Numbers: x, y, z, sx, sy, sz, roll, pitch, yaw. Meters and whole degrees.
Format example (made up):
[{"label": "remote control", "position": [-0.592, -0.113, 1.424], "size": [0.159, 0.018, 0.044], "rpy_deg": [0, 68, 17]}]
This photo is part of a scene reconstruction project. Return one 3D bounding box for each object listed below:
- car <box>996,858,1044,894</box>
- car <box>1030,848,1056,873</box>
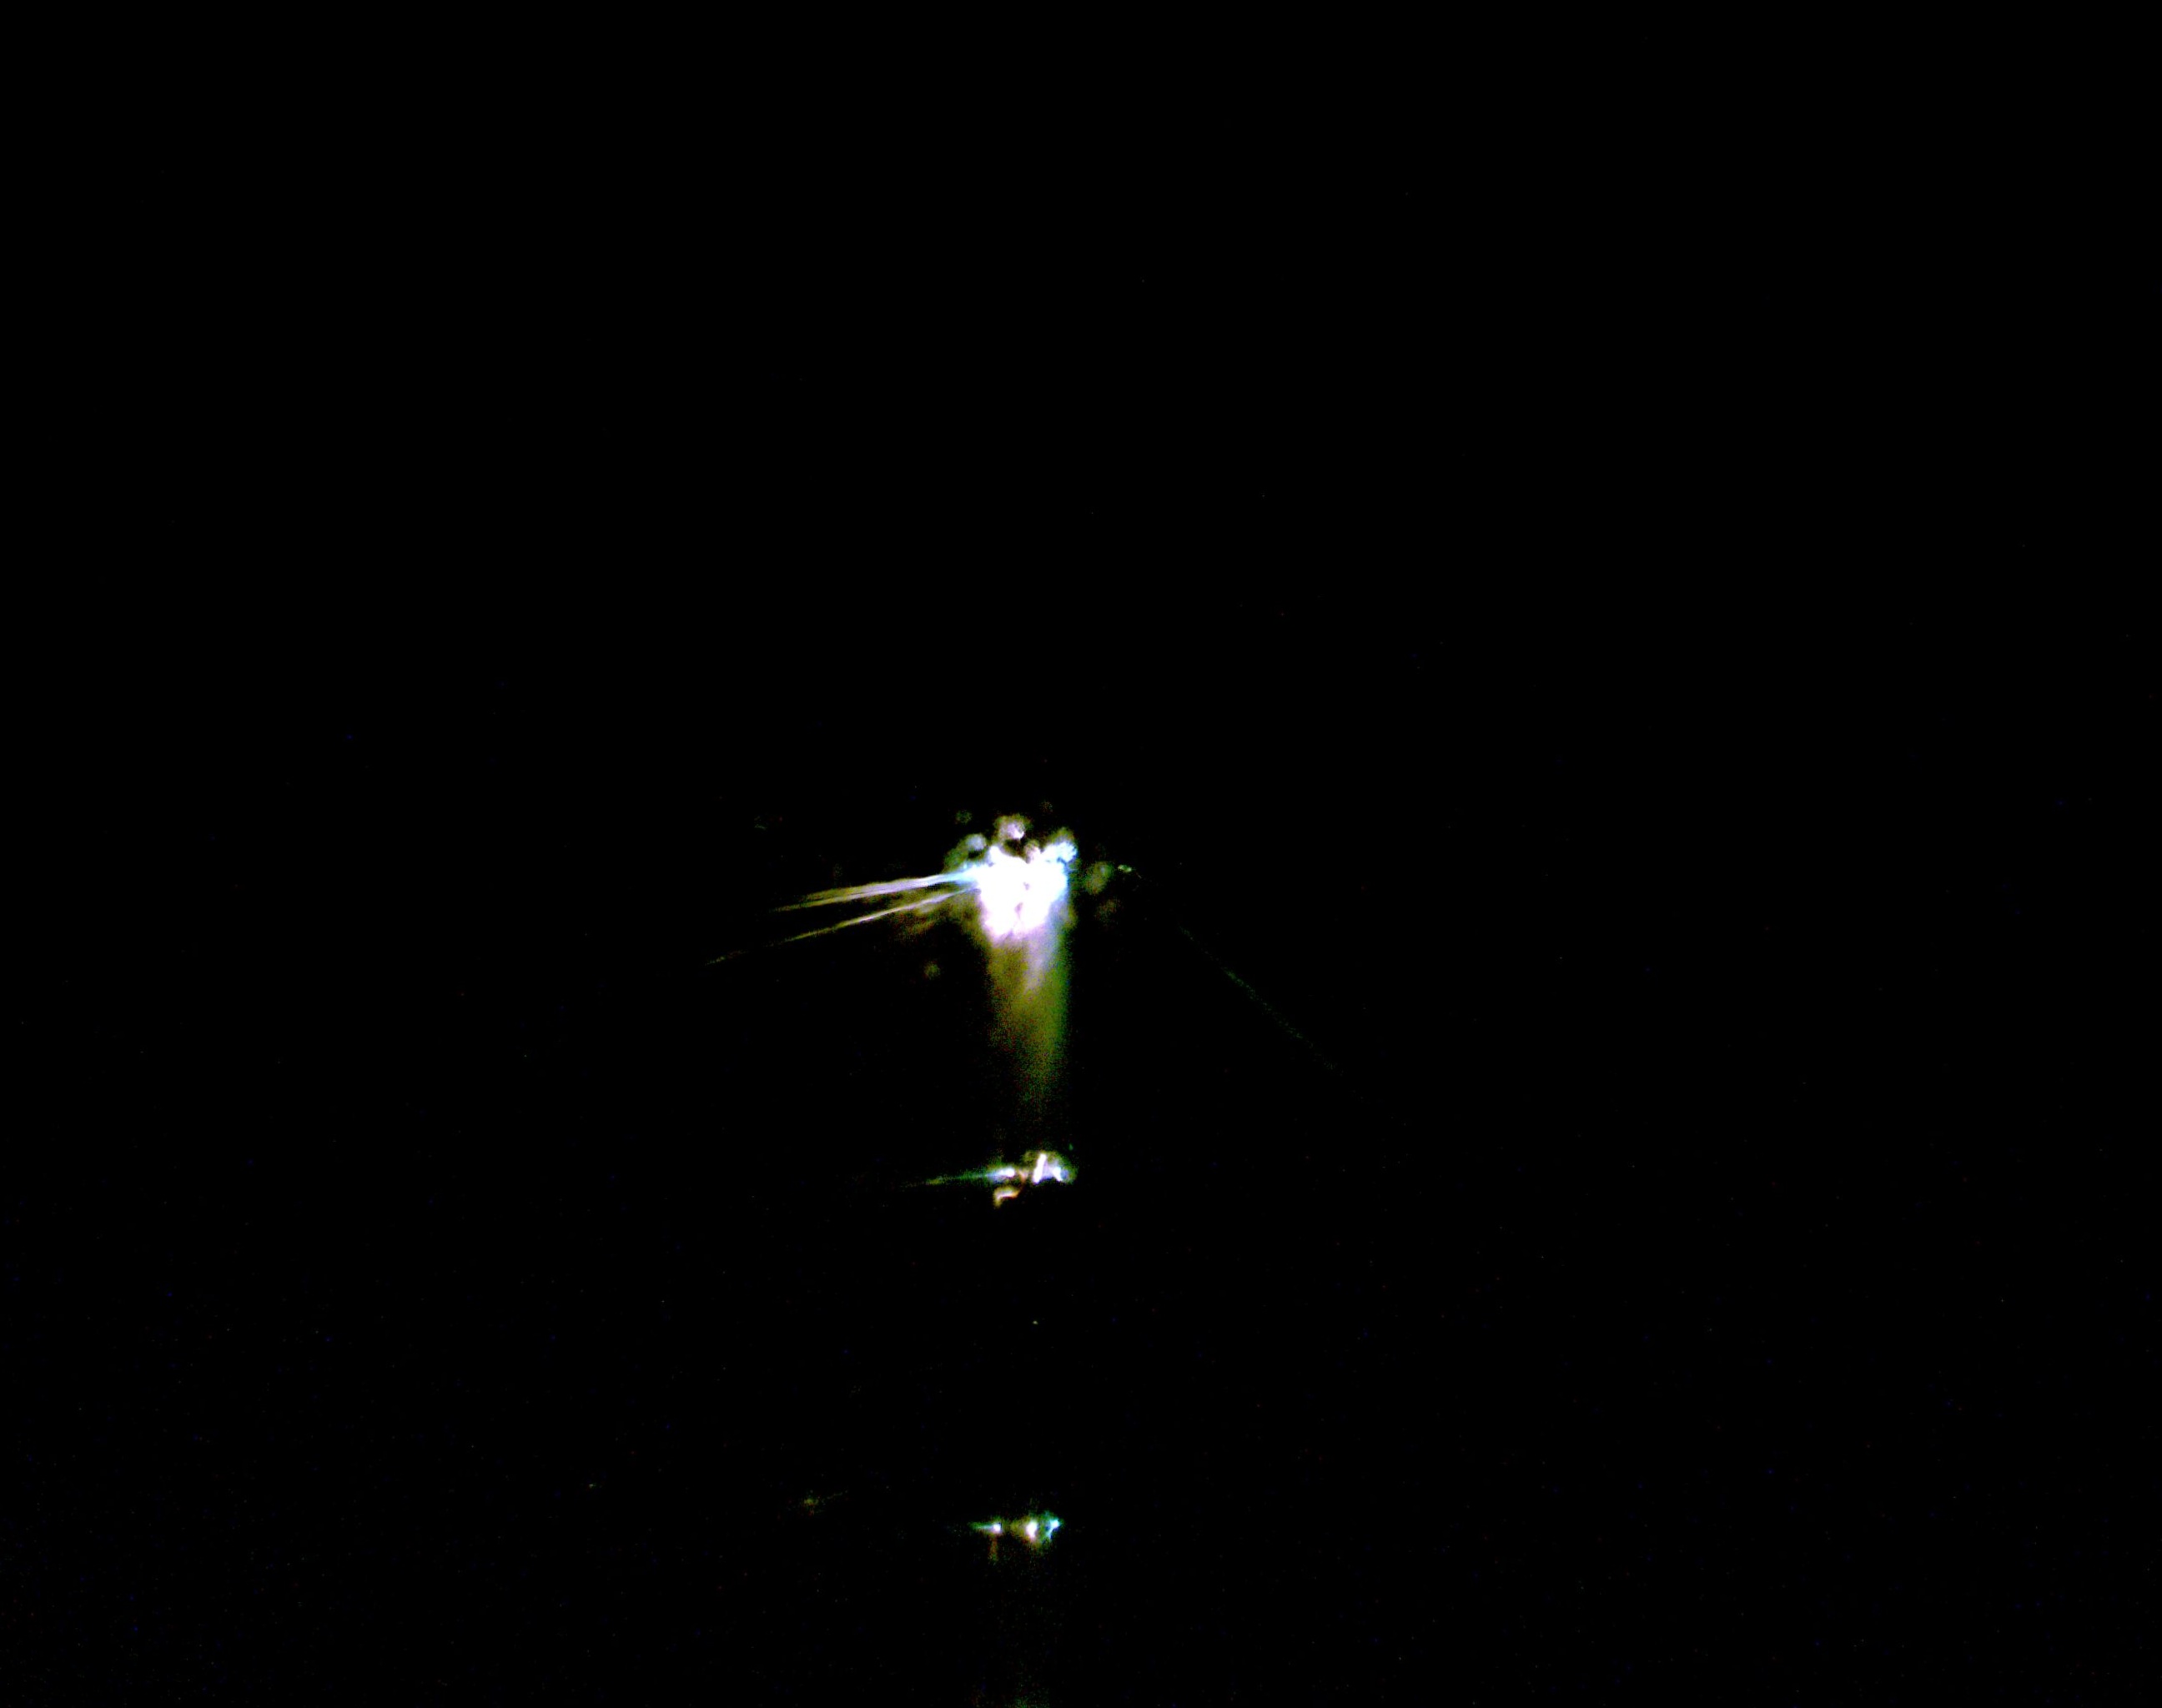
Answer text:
[{"label": "car", "position": [-2.932, 1.048, 39.922], "size": [1.919, 1.574, 4.348], "rpy_deg": [-1, 1, 1]}, {"label": "car", "position": [-3.113, 0.537, 67.921], "size": [1.987, 2.013, 3.999], "rpy_deg": [-1, 0, -1]}]
